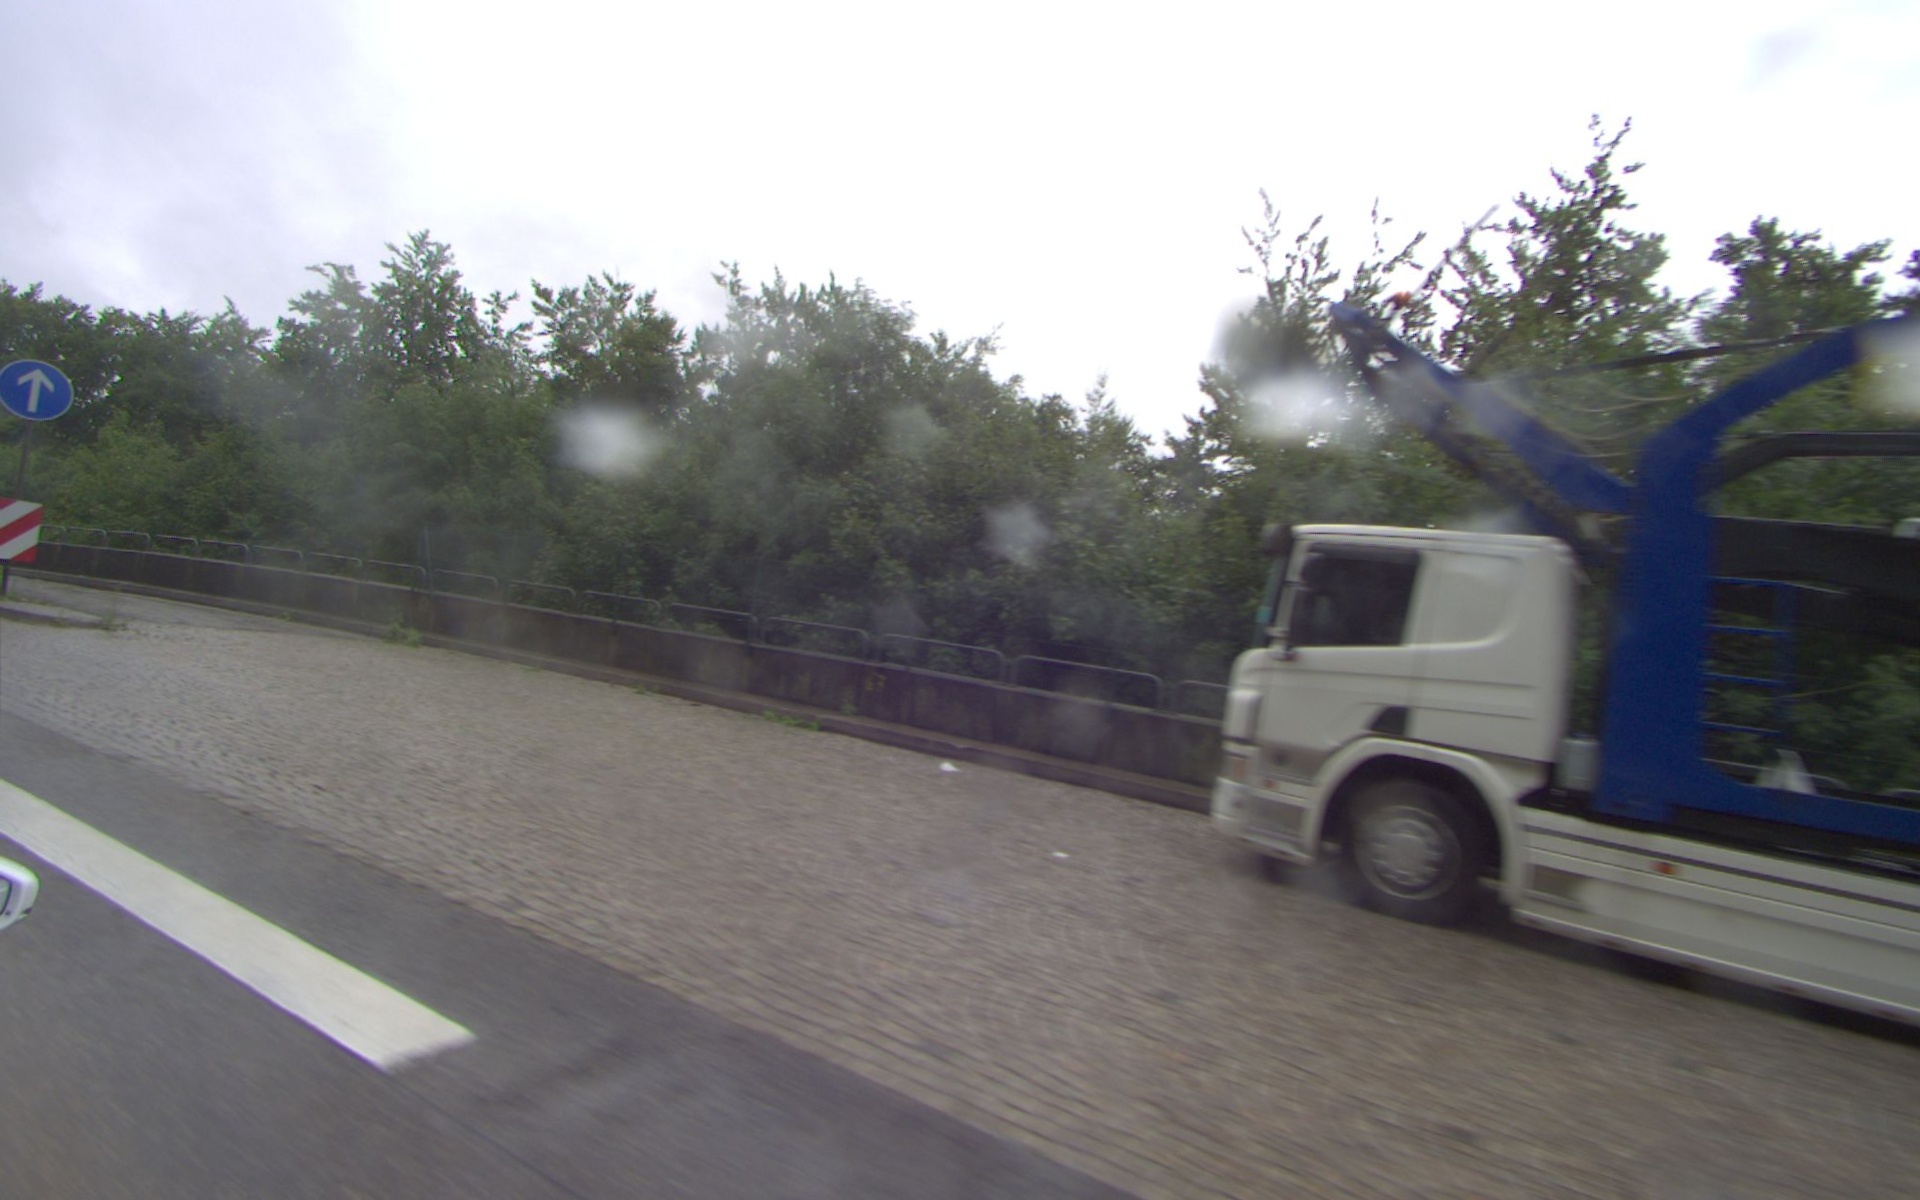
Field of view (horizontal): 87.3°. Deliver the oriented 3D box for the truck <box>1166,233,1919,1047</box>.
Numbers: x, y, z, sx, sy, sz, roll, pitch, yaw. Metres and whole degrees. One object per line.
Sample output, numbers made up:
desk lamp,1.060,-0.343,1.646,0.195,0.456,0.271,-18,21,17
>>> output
truck,5.369,0.243,6.863,6.767,4.296,2.900,7,0,32
